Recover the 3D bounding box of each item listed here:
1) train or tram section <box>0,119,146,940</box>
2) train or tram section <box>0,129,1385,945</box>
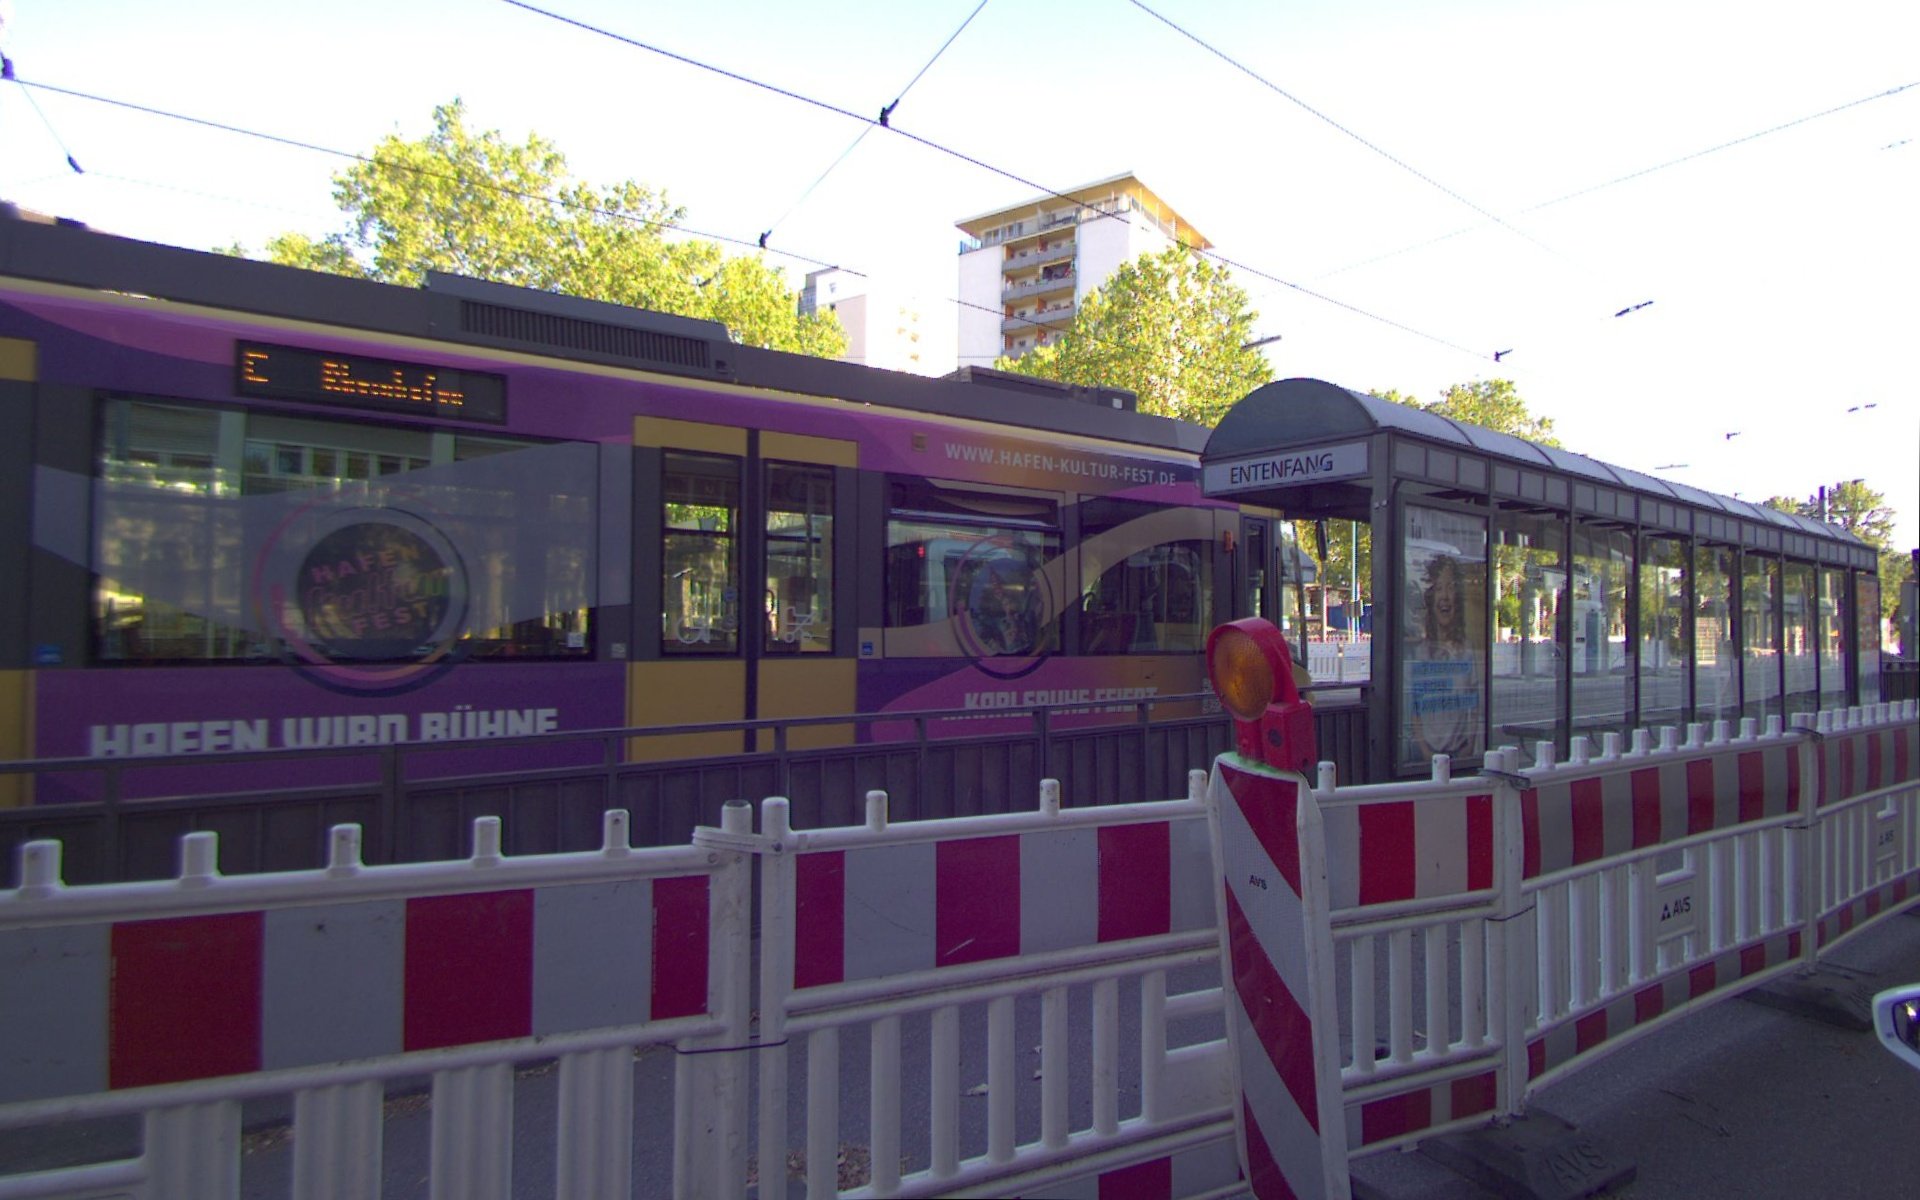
[{"bbox_3d":[-9.163,-0.398,2.853,10.219,3.533,2.821,2,-1,-31],"label":"train or tram section"},{"bbox_3d":[-0.796,-0.127,8.294,10.230,3.533,2.799,2,-1,-34],"label":"train or tram section"}]
